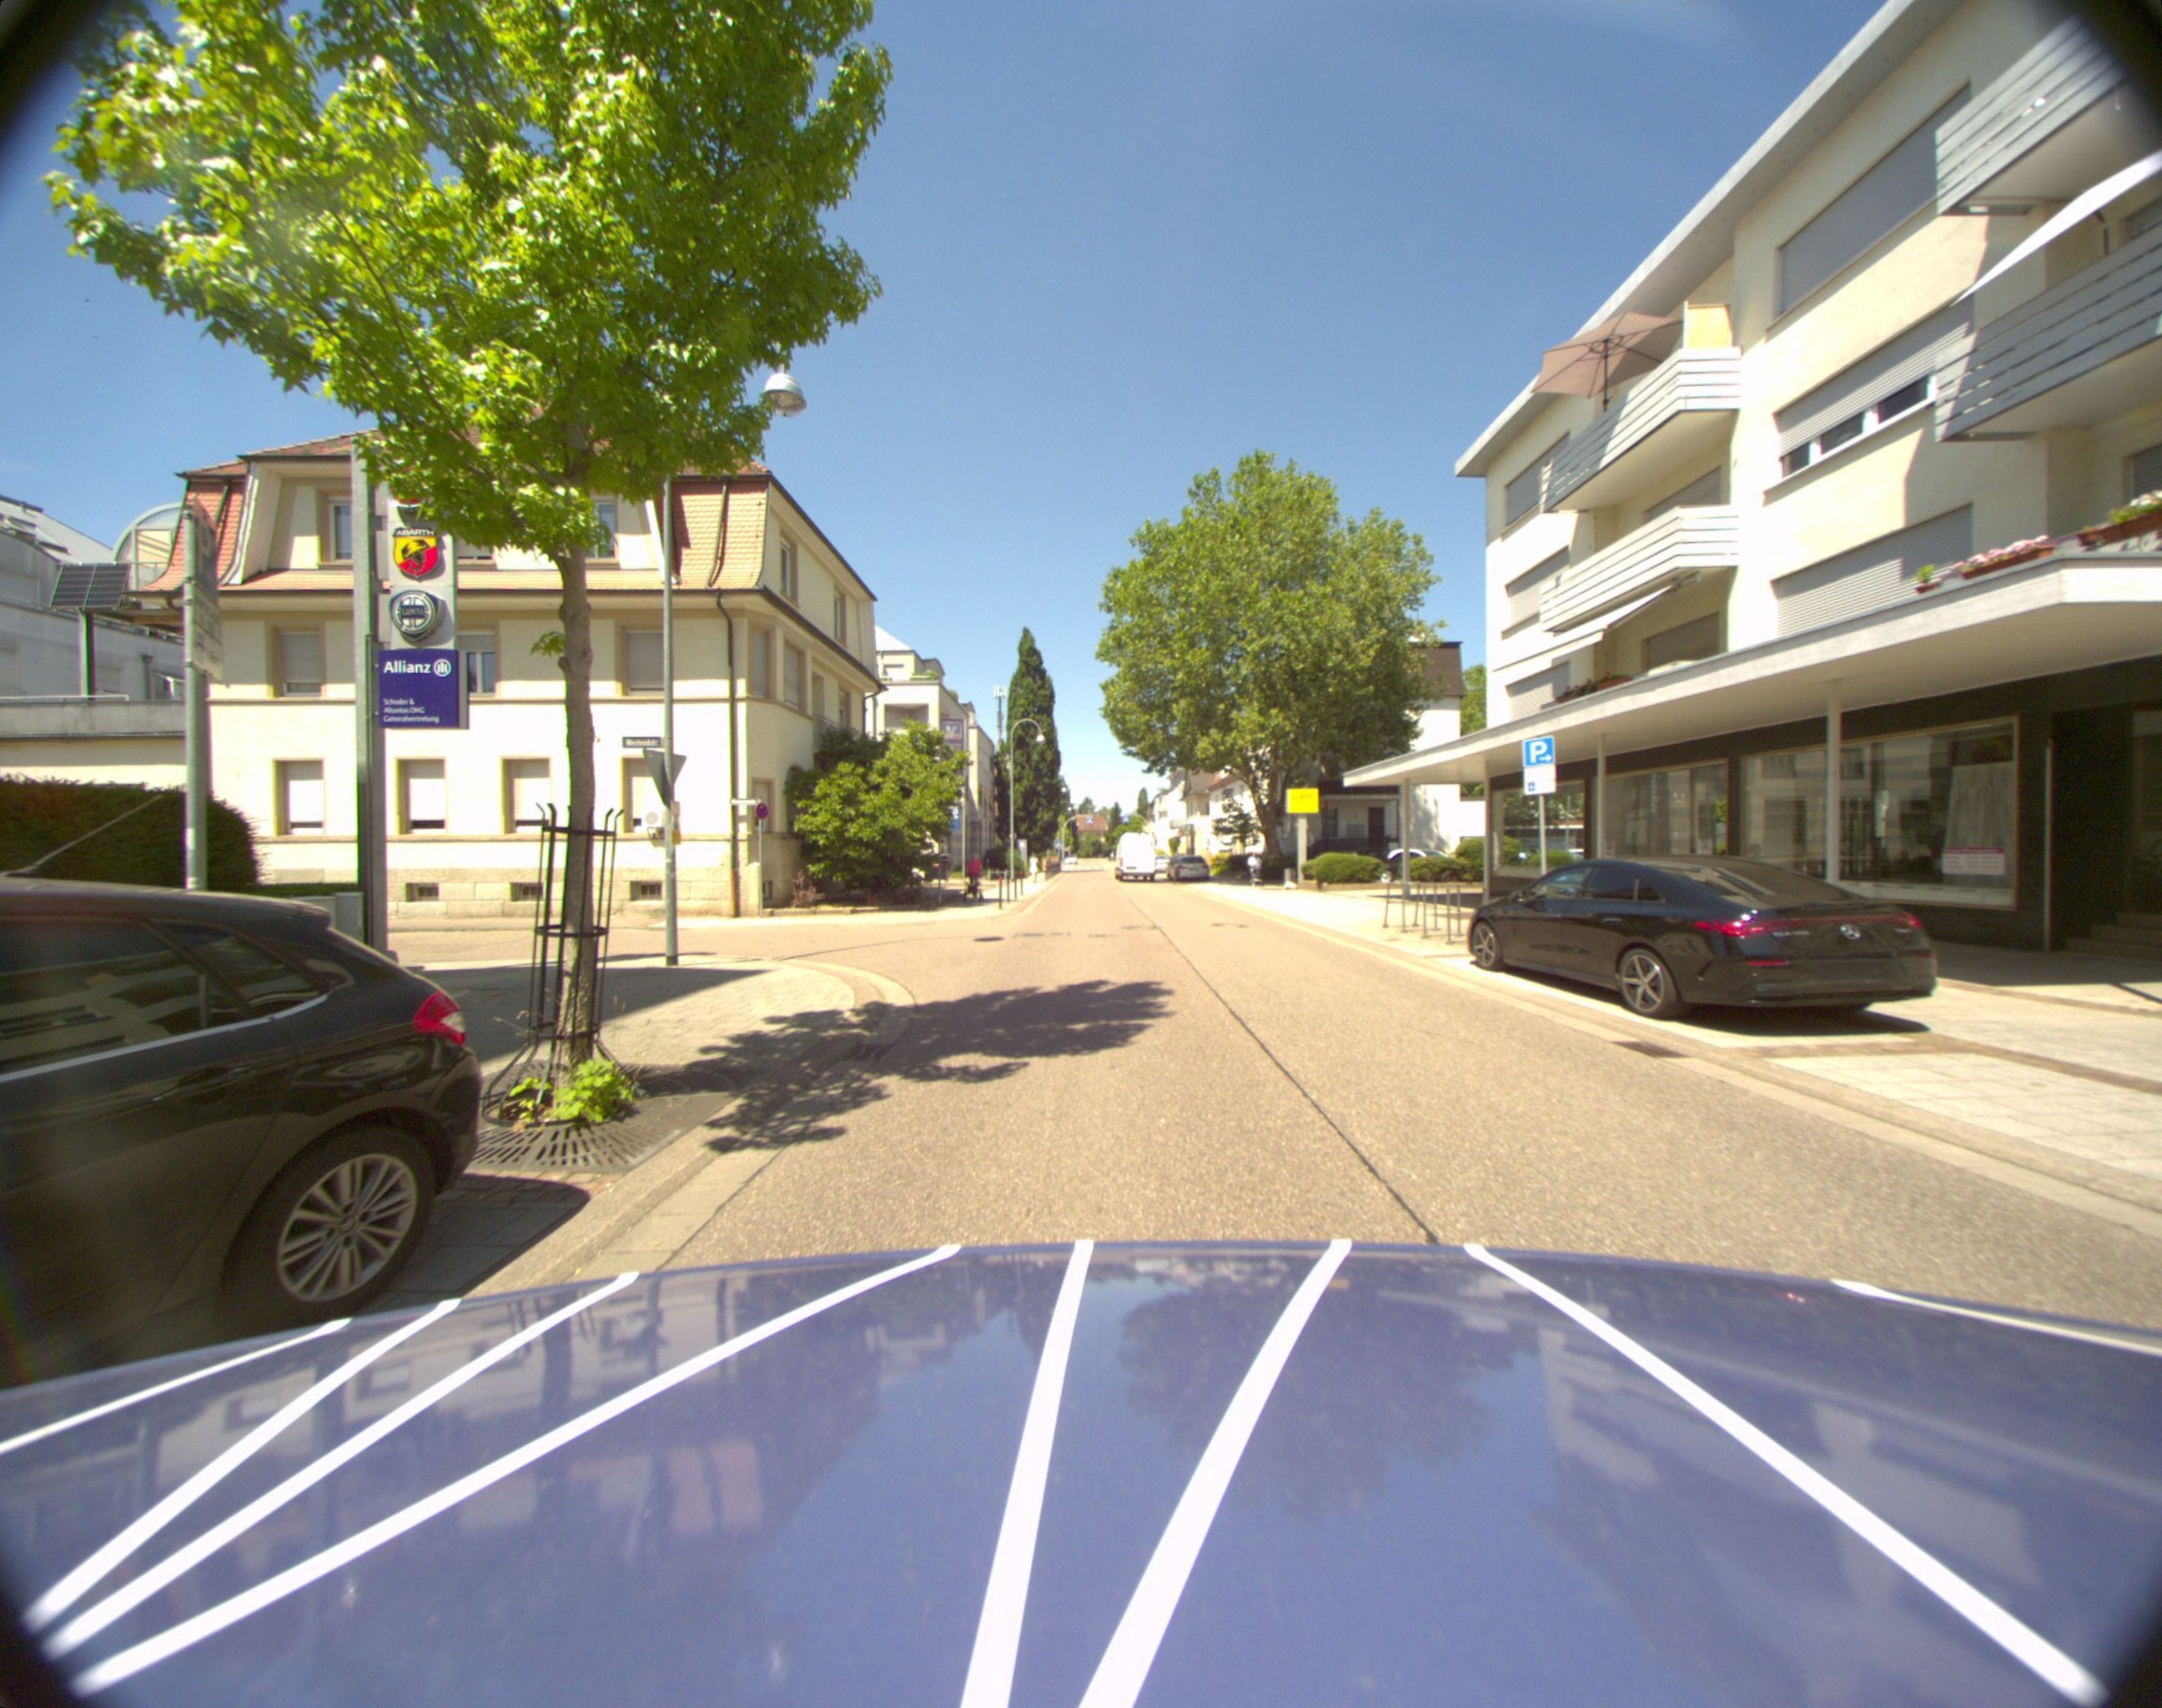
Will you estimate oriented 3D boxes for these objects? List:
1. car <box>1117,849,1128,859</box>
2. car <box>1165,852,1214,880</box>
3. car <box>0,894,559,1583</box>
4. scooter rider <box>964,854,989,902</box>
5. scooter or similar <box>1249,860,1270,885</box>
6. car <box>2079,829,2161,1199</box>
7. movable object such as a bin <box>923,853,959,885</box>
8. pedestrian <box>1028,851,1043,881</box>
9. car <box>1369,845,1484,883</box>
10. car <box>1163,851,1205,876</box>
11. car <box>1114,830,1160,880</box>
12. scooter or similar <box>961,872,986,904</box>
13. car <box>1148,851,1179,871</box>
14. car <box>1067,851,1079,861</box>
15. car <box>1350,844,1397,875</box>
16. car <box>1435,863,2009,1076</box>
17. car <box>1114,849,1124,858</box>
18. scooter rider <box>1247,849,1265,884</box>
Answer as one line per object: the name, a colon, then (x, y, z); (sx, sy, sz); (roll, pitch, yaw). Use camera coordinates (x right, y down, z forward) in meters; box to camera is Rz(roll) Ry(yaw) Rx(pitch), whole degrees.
car: (7.625, 0.004, 139.469); (1.925, 1.577, 4.435); (-3, 0, 1)
car: (6.096, 0.645, 43.235); (1.986, 1.444, 5.150); (-2, 0, 0)
car: (-3.370, 0.906, 1.129); (1.900, 1.430, 4.545); (0, 0, 3)
scooter rider: (-3.410, 0.775, 24.763); (0.718, 1.540, 0.770); (1, 1, -1)
scooter or similar: (8.074, 0.821, 34.376); (0.665, 1.092, 1.028); (-3, 0, 2)
car: (5.792, 0.710, 1.684); (1.757, 1.692, 4.101); (-3, 0, 0)
movable object such as a bin: (-6.777, 0.710, 36.846); (1.371, 1.450, 1.380); (3, 1, 2)
pedestrian: (-2.529, 0.647, 42.024); (0.702, 1.617, 0.783); (2, 1, 0)
car: (14.199, 0.385, 31.448); (1.900, 1.478, 3.986); (-1, 0, -30)
car: (6.579, 0.569, 49.123); (1.986, 1.444, 4.867); (-2, 0, 0)
car: (3.155, 0.061, 44.165); (2.042, 2.615, 7.106); (1, 0, 0)
scooter or similar: (-3.414, 1.074, 24.186); (0.665, 0.957, 0.754); (1, 1, 0)
car: (6.541, 0.542, 60.849); (1.986, 1.444, 5.357); (-2, 0, 1)
car: (-1.254, 0.320, 120.828); (1.920, 1.460, 4.880); (0, 0, 1)
car: (15.233, 0.275, 39.760); (1.809, 1.536, 4.110); (0, 1, 14)
car: (5.935, 0.893, 8.160); (1.901, 1.409, 5.047); (-3, 0, 0)
car: (7.930, -0.147, 159.378); (1.925, 1.681, 4.287); (-3, 0, 2)
scooter rider: (8.082, 0.580, 35.085); (0.590, 1.566, 0.877); (-3, 0, 2)
